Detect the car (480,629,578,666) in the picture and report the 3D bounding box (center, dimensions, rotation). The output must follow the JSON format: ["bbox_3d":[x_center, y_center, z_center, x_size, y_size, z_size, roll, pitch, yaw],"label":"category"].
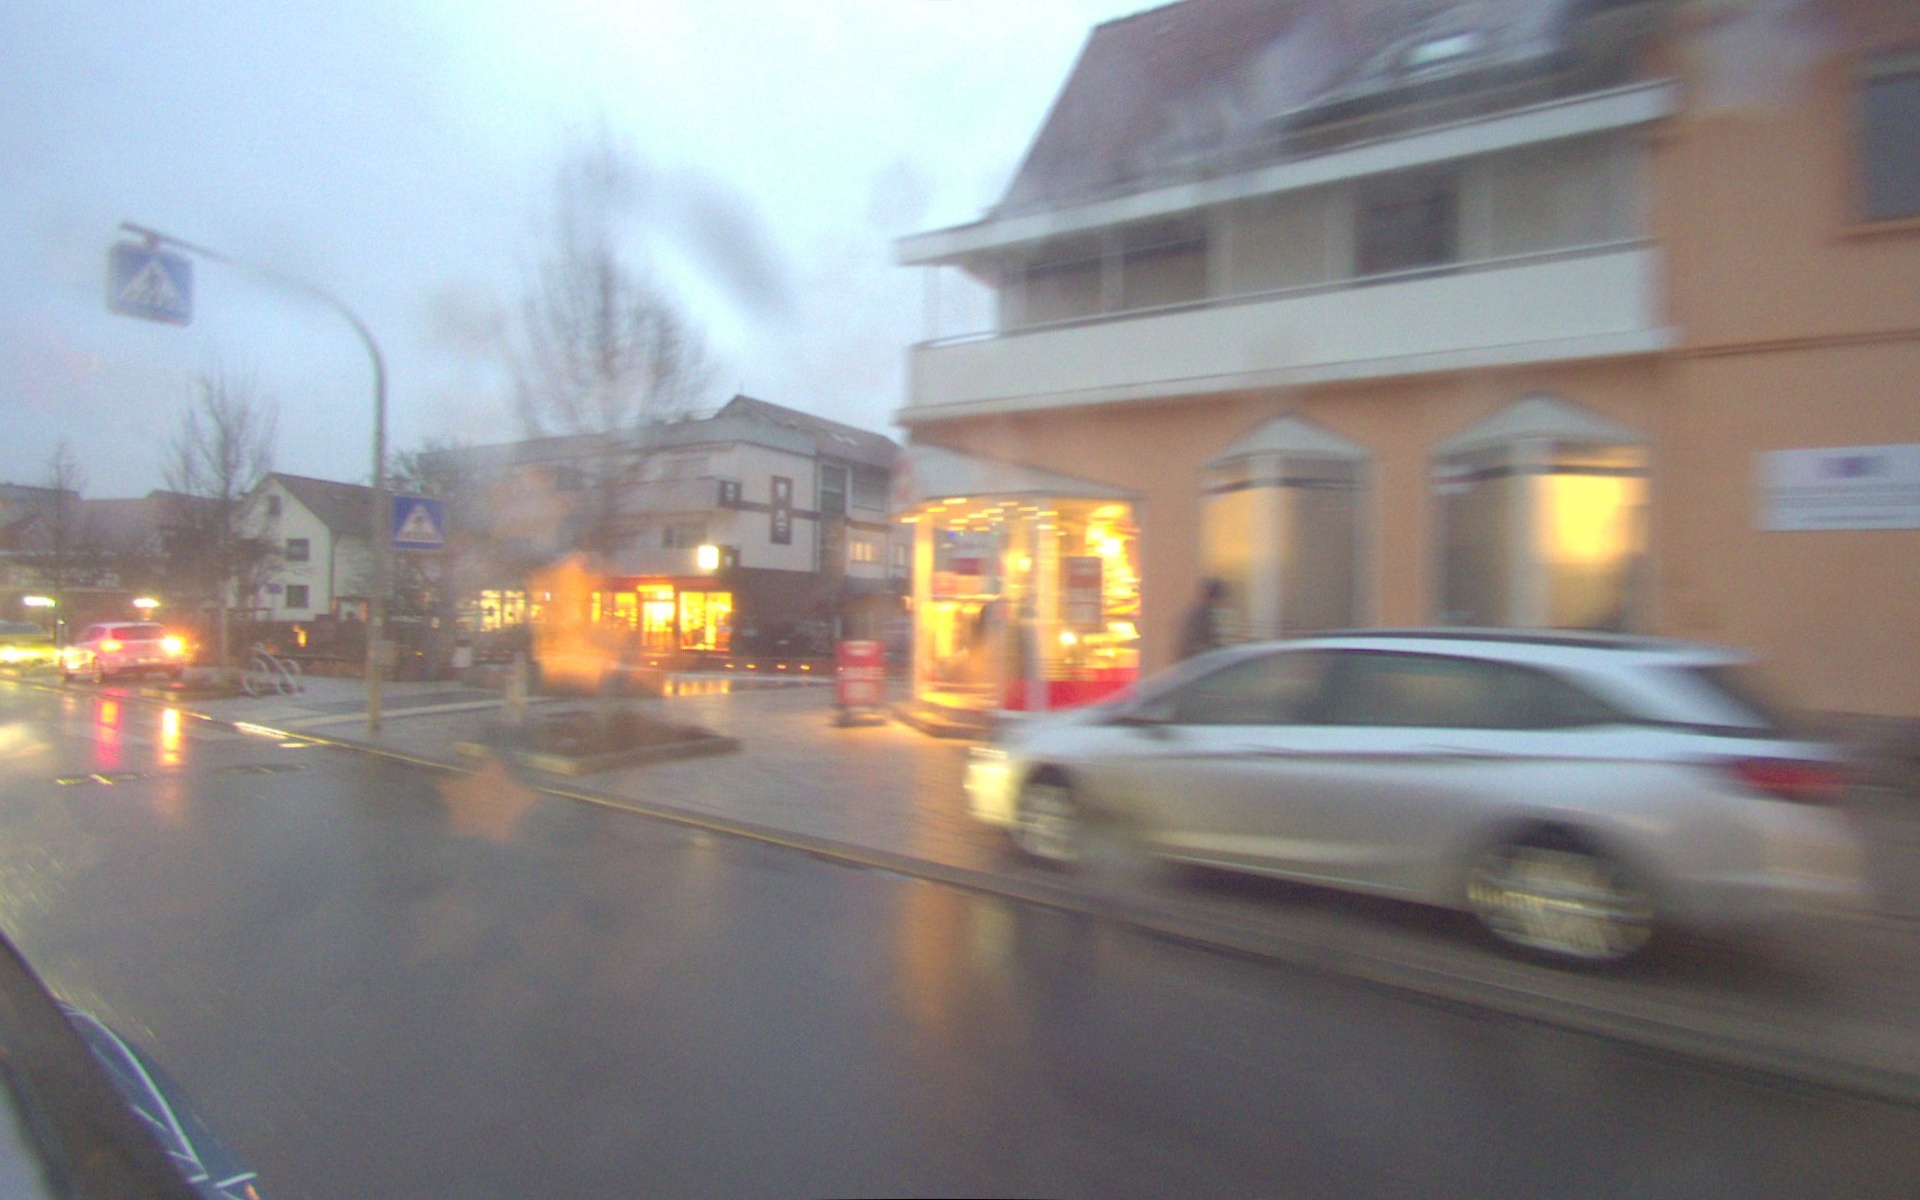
[{"bbox_3d":[-19.247,2.084,45.168,3.983,1.576,1.980,-1,-2,30],"label":"car"}]

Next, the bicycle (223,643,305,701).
[{"bbox_3d":[-13.107,1.367,19.056,1.733,1.070,0.322,-2,-7,23],"label":"bicycle"}]

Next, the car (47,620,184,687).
[{"bbox_3d":[-21.260,1.278,25.432,4.175,1.500,1.768,-1,0,37],"label":"car"}]

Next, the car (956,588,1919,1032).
[{"bbox_3d":[2.378,0.770,5.717,4.616,1.570,1.974,-1,0,40],"label":"car"}]

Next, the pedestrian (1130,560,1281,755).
[{"bbox_3d":[2.269,0.496,9.349,1.096,1.671,0.818,-1,0,38],"label":"pedestrian"}]

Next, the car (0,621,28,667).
[{"bbox_3d":[-33.795,1.498,34.694,3.660,1.546,1.860,-1,0,33],"label":"car"}]

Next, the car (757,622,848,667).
[{"bbox_3d":[-6.779,1.934,43.998,1.990,1.858,3.963,-1,-2,27],"label":"car"}]

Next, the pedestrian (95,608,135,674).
[{"bbox_3d":[-26.706,1.286,31.989,0.890,2.029,0.791,1,-2,-44],"label":"pedestrian"}]

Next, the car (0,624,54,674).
[{"bbox_3d":[-29.638,1.488,31.268,4.370,1.442,1.678,-1,-1,37],"label":"car"}]
